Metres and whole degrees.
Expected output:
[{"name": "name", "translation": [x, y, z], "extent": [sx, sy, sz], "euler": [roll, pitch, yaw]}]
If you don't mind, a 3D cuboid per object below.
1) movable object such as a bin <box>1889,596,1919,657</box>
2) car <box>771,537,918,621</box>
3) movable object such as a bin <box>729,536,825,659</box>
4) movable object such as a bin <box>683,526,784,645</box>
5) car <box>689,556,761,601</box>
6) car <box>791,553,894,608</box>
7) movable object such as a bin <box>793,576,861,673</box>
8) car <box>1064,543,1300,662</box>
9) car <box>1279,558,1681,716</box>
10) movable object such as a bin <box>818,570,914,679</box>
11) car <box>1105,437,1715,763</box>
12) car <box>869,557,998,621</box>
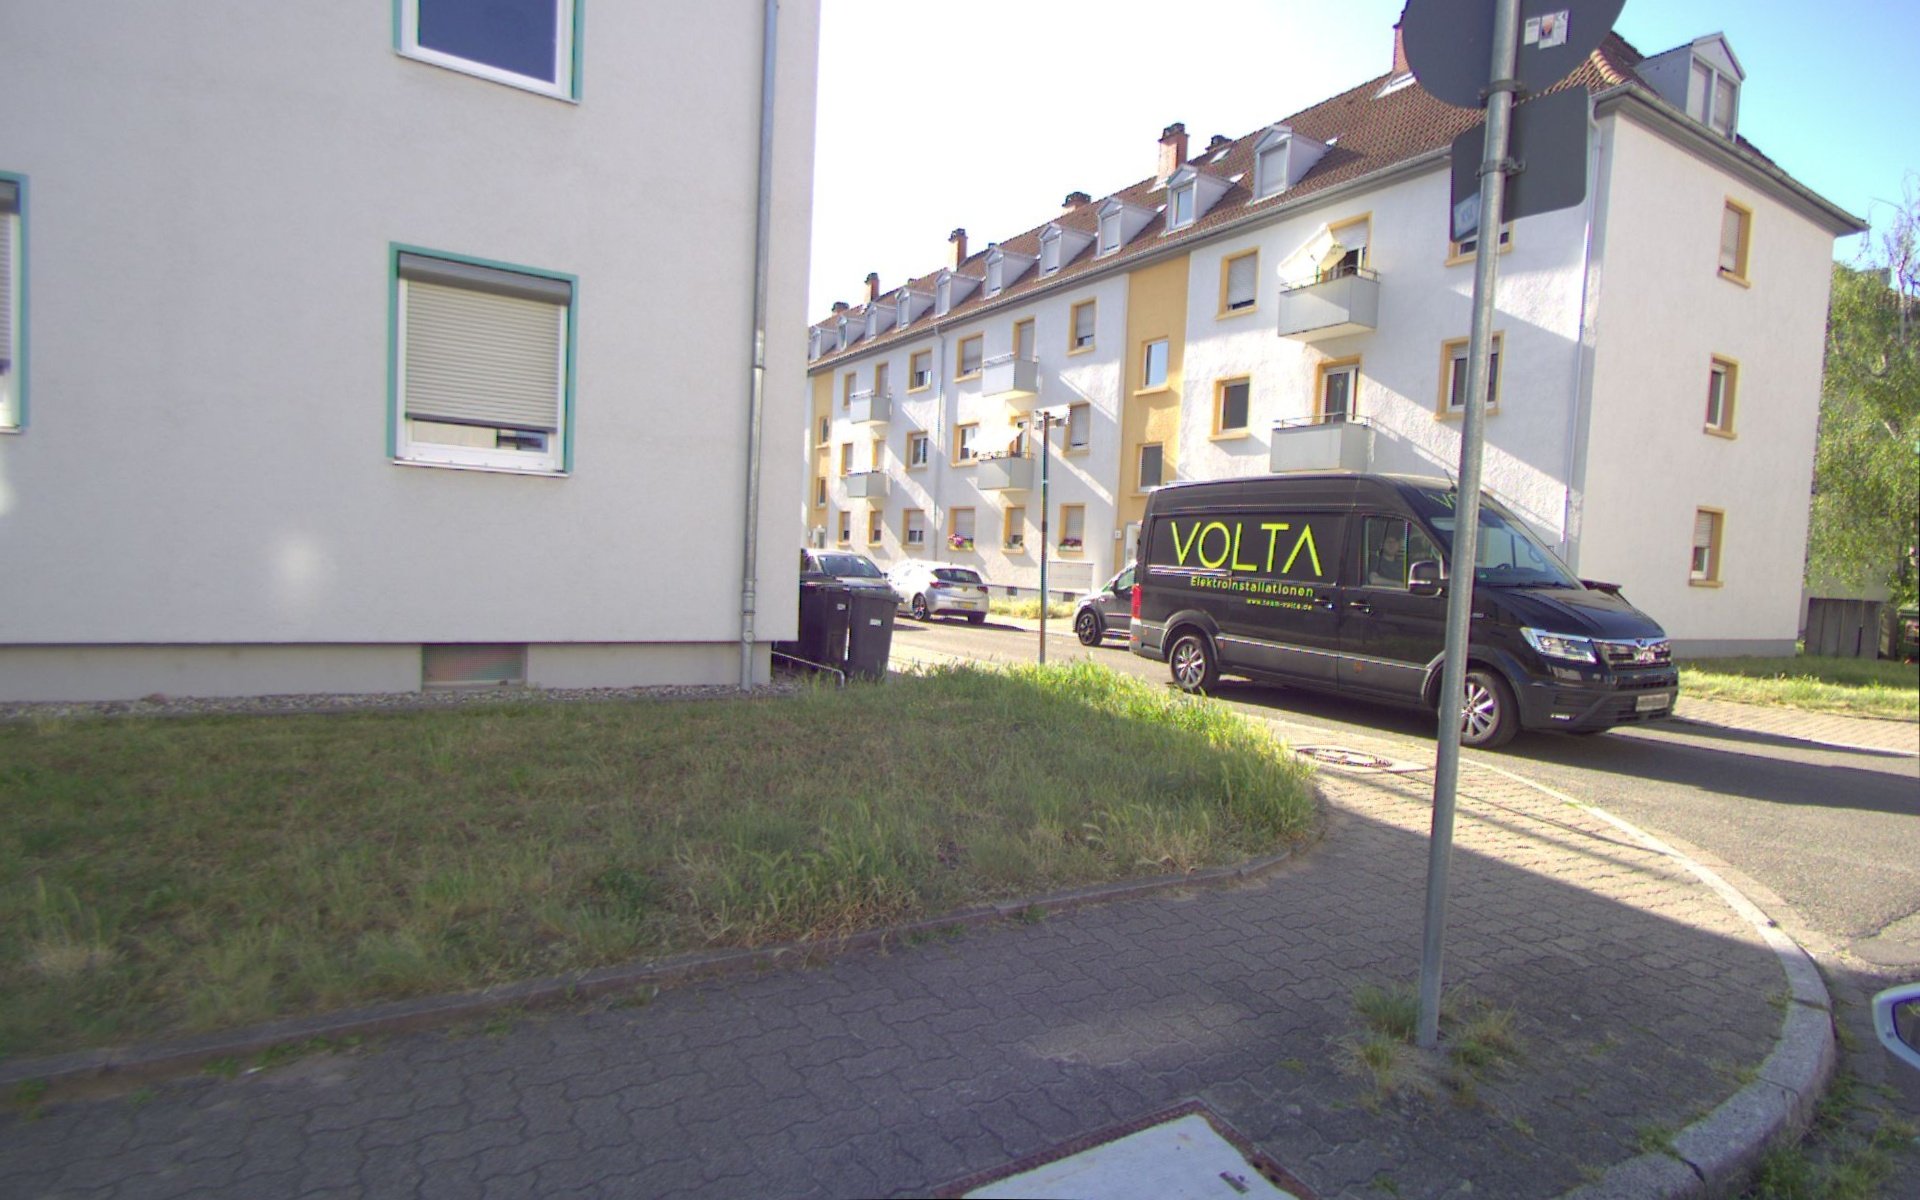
[{"name": "movable object such as a bin", "translation": [23.561, 0.660, 24.532], "extent": [0.992, 1.454, 1.054], "euler": [1, 1, -34]}, {"name": "car", "translation": [-2.719, -0.492, 22.876], "extent": [1.844, 1.718, 3.966], "euler": [1, 1, -31]}, {"name": "movable object such as a bin", "translation": [-2.255, -0.049, 12.303], "extent": [0.837, 1.419, 1.057], "euler": [1, 3, -28]}, {"name": "movable object such as a bin", "translation": [-3.098, -0.202, 13.678], "extent": [1.031, 1.530, 1.134], "euler": [1, 3, -28]}, {"name": "car", "translation": [-9.411, -0.862, 40.122], "extent": [1.765, 1.679, 3.536], "euler": [1, 1, -31]}, {"name": "car", "translation": [-3.614, -0.604, 30.360], "extent": [1.765, 1.546, 3.536], "euler": [1, 1, -31]}, {"name": "movable object such as a bin", "translation": [-1.386, 0.247, 10.435], "extent": [0.526, 0.962, 0.495], "euler": [1, 3, -32]}, {"name": "car", "translation": [3.754, -0.026, 17.657], "extent": [1.700, 1.812, 3.969], "euler": [3, 1, -31]}, {"name": "car", "translation": [6.634, 0.364, 13.395], "extent": [1.700, 1.686, 4.464], "euler": [3, 1, -31]}, {"name": "movable object such as a bin", "translation": [-0.930, 0.233, 9.921], "extent": [0.707, 1.005, 0.609], "euler": [1, 4, -33]}, {"name": "car", "translation": [4.314, -0.144, 11.001], "extent": [1.978, 2.579, 5.907], "euler": [1, 3, -32]}, {"name": "car", "translation": [-0.733, -0.301, 25.327], "extent": [1.764, 1.402, 3.539], "euler": [4, 0, -29]}]
